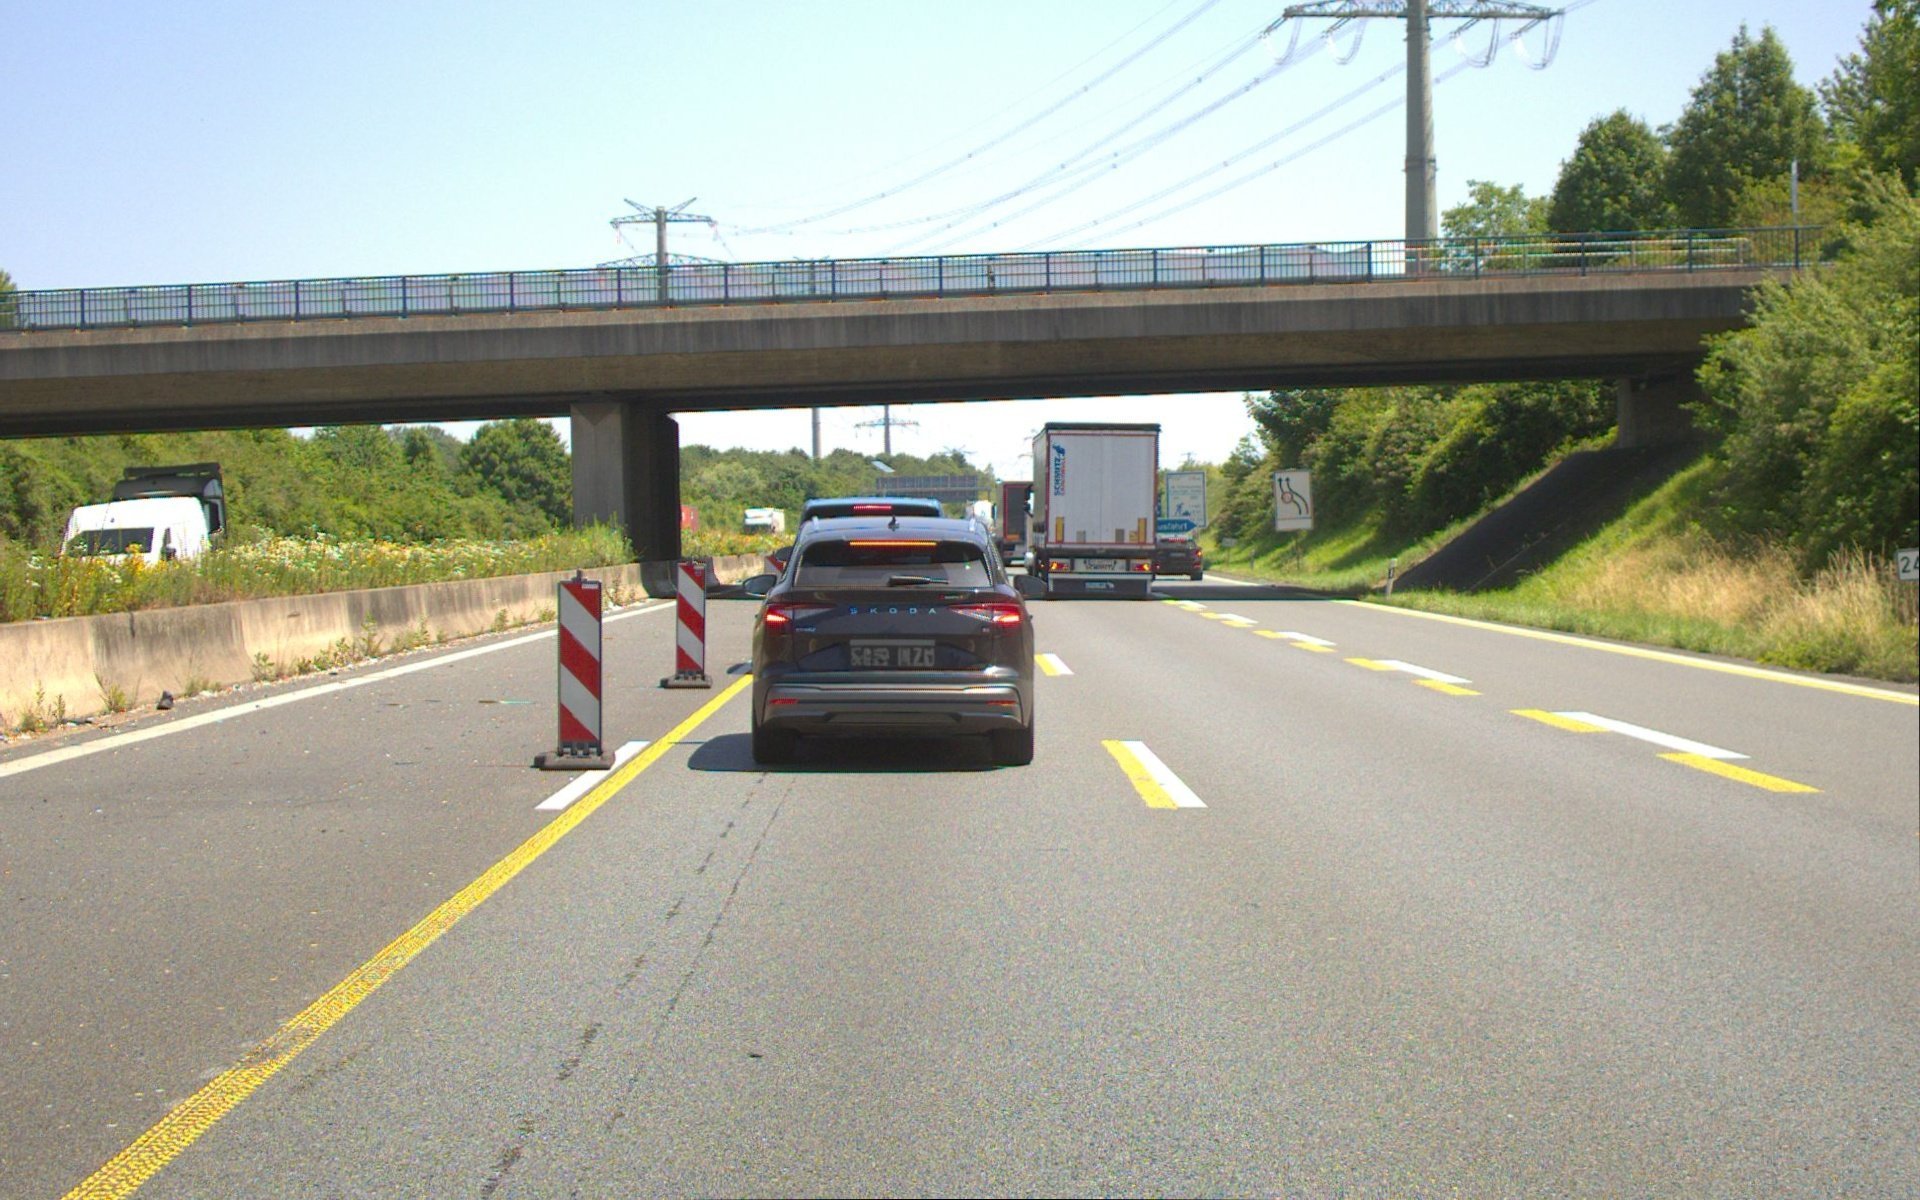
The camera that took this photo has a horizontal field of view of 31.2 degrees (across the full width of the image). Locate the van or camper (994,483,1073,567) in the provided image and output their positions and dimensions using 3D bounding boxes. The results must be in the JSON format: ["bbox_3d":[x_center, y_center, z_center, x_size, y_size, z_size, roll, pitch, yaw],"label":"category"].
[{"bbox_3d":[2.658,-2.765,125.823,2.586,2.958,6.085,1,2,-1],"label":"van or camper"}]

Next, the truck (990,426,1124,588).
[{"bbox_3d":[2.474,-2.427,90.165,3.024,4.073,7.796,0,1,-2],"label":"truck"}]

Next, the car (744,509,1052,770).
[{"bbox_3d":[-0.455,0.185,23.458,1.895,1.586,4.443,0,2,-2],"label":"car"}]

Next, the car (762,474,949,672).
[{"bbox_3d":[-1.158,-0.364,38.280,1.895,1.835,4.444,2,4,-2],"label":"car"}]

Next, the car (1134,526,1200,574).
[{"bbox_3d":[6.758,-1.650,112.434,1.779,1.484,4.464,1,1,-1],"label":"car"}]

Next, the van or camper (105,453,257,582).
[{"bbox_3d":[-19.906,-2.124,88.129,2.570,3.176,6.233,0,1,-1],"label":"van or camper"}]

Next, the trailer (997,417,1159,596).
[{"bbox_3d":[2.733,-2.262,83.356,3.065,4.028,11.489,0,1,-2],"label":"trailer"}]

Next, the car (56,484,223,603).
[{"bbox_3d":[-15.997,-1.124,67.276,2.112,2.190,5.313,1,1,-2],"label":"car"}]

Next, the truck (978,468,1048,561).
[{"bbox_3d":[2.434,-3.996,160.837,3.078,4.132,13.055,1,1,0],"label":"truck"}]
